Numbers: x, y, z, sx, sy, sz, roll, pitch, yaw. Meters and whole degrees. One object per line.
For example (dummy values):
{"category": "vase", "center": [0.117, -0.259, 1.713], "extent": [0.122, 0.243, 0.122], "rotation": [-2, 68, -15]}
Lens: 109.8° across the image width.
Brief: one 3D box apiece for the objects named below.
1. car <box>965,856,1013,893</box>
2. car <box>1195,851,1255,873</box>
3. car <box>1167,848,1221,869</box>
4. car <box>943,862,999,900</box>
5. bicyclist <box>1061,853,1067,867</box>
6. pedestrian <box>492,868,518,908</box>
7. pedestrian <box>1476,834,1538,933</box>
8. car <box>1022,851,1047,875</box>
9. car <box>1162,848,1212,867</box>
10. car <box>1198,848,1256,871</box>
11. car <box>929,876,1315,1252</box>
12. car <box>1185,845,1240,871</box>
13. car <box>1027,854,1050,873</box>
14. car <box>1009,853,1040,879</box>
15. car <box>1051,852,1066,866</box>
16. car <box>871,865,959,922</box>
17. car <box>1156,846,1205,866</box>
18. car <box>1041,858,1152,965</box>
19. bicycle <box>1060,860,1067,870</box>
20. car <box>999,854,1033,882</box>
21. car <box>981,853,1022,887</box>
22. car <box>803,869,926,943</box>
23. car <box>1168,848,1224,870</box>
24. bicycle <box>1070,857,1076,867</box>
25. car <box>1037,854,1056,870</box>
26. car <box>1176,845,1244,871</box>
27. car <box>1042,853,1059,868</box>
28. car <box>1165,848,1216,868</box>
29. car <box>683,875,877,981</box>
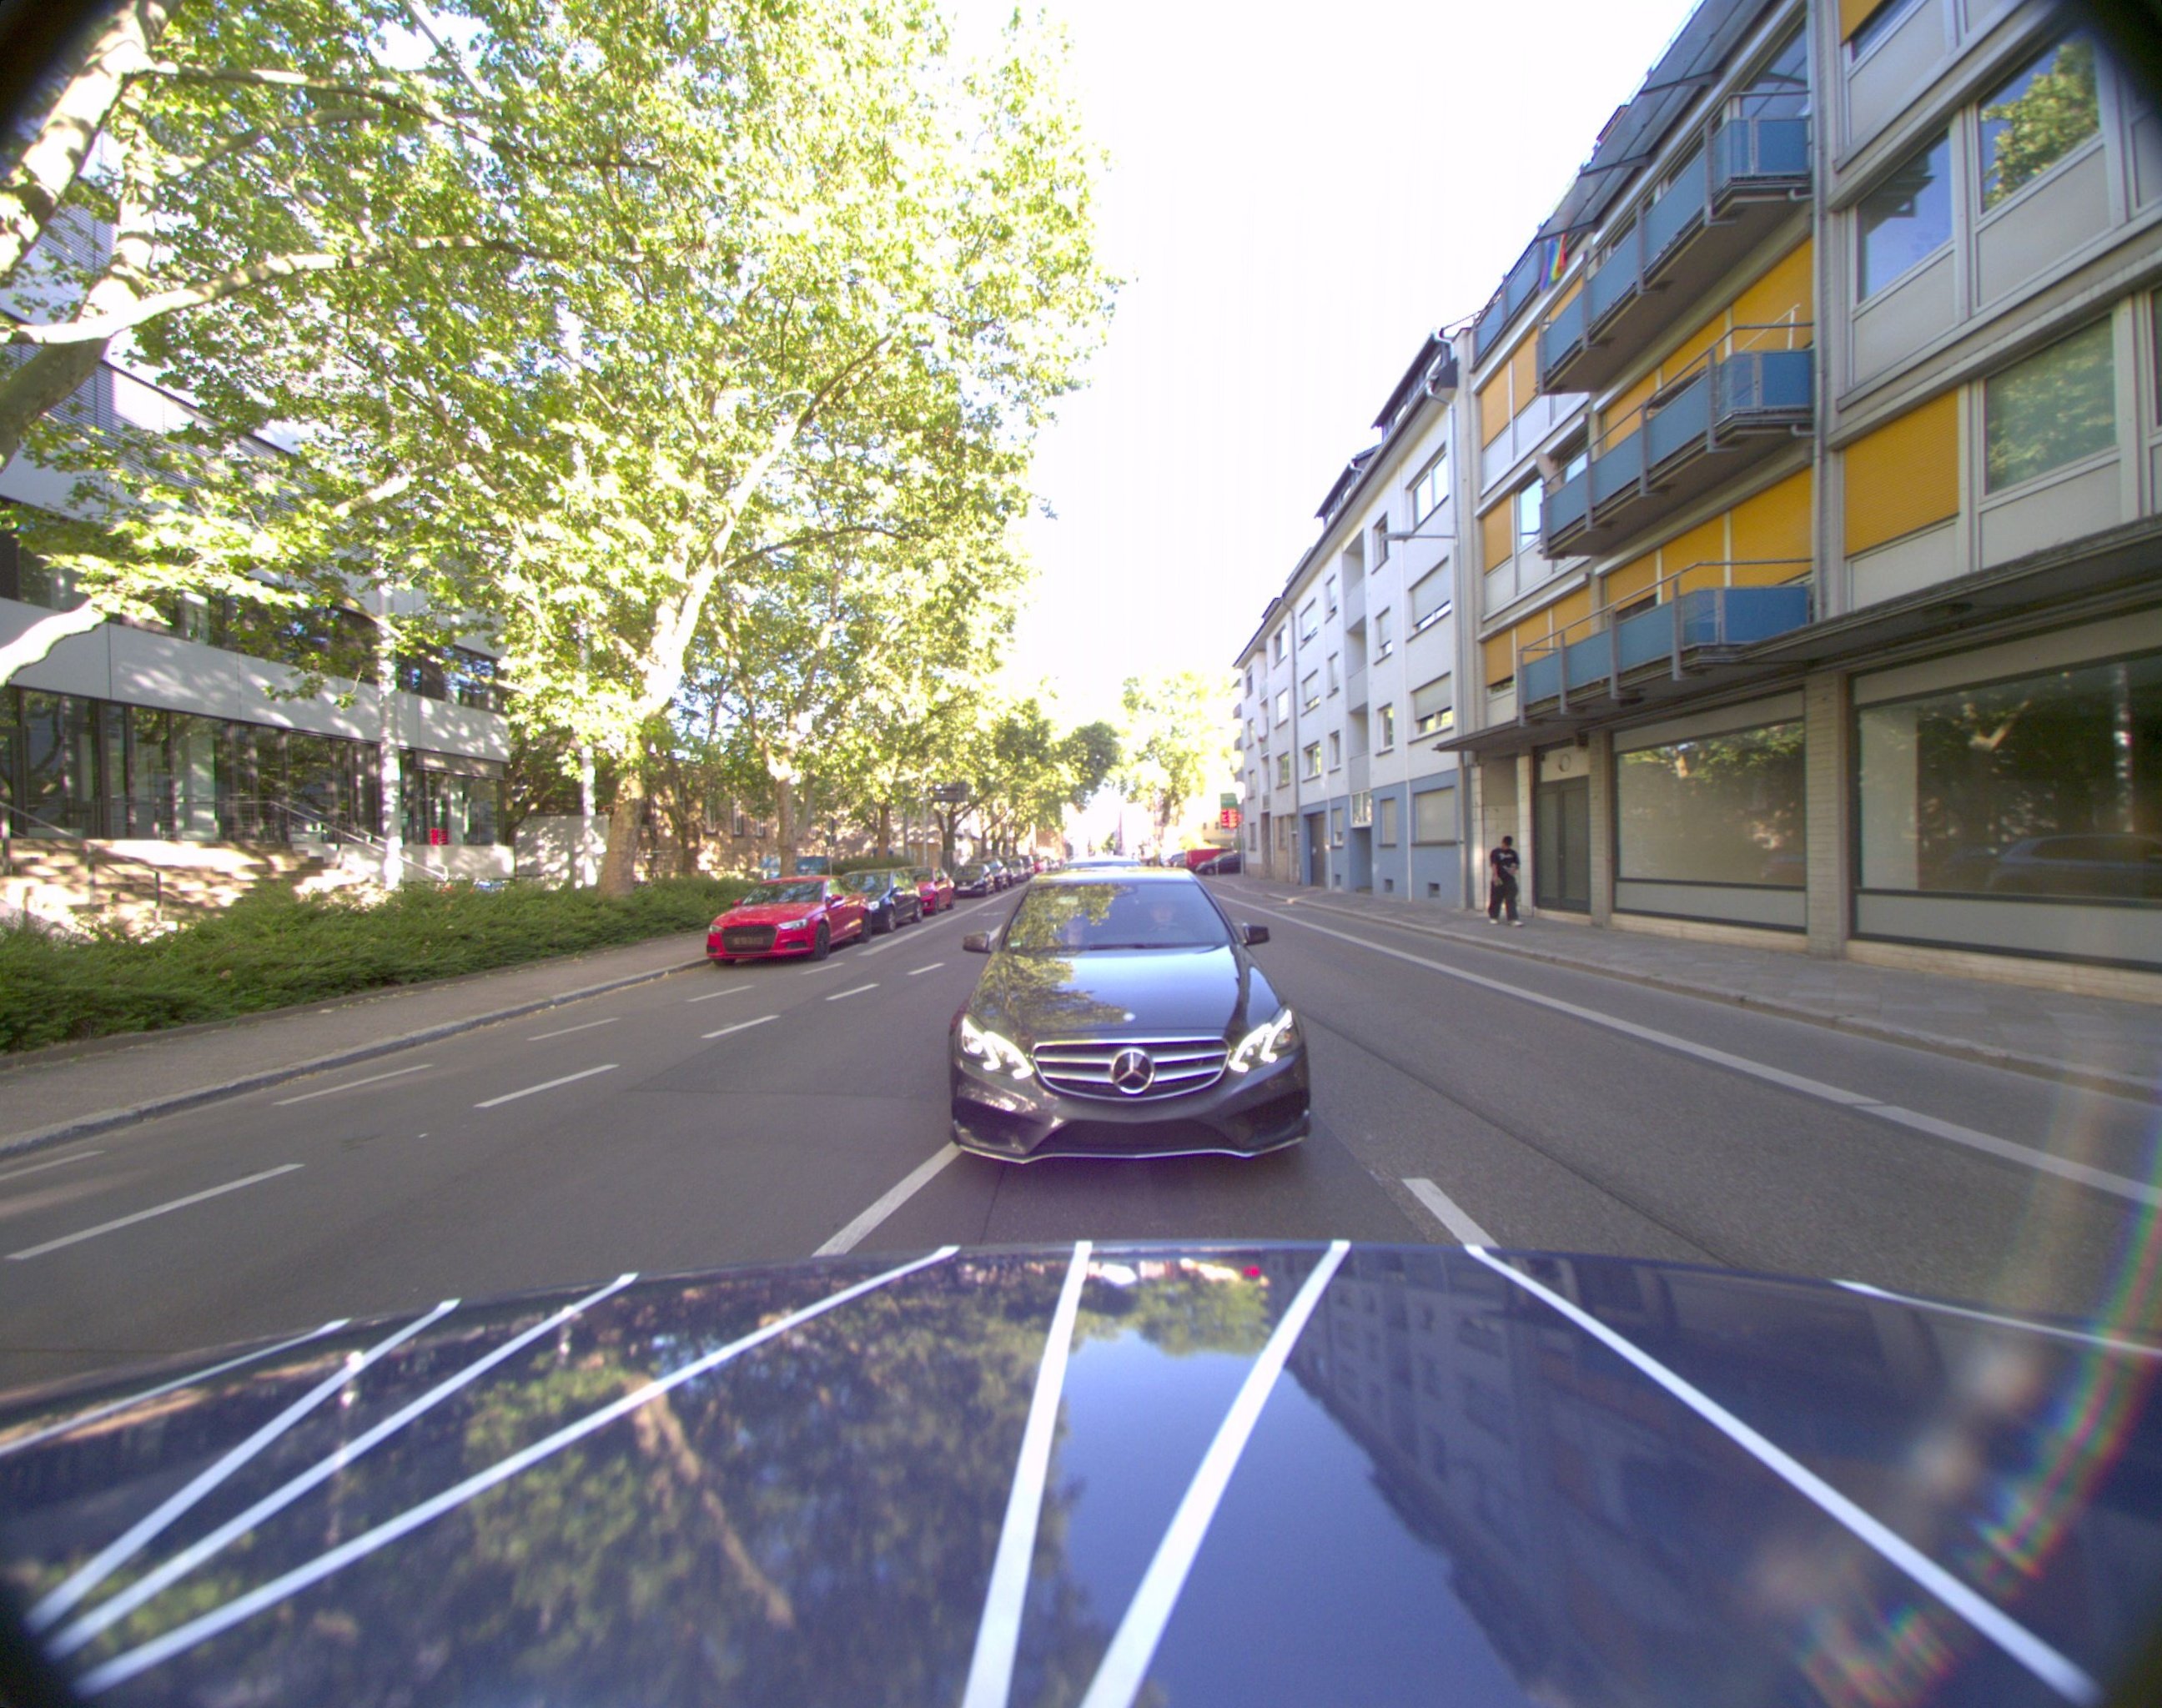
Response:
{"category": "car", "center": [-4.568, 0.980, 38.256], "extent": [1.755, 1.644, 4.174], "rotation": [-3, 0, 1]}
{"category": "car", "center": [10.351, 0.573, 54.773], "extent": [3.997, 1.412, 1.743], "rotation": [-1, 0, 1]}
{"category": "car", "center": [11.267, 0.417, 76.214], "extent": [5.054, 1.926, 2.161], "rotation": [-1, 0, 1]}
{"category": "car", "center": [-4.755, 1.121, 33.286], "extent": [1.755, 1.424, 3.909], "rotation": [-3, 0, 1]}
{"category": "bicyclist", "center": [-1.818, 0.601, 80.764], "extent": [0.650, 1.427, 0.741], "rotation": [-1, 1, 1]}
{"category": "pedestrian", "center": [-24.405, 1.422, 32.200], "extent": [0.525, 1.660, 0.661], "rotation": [-2, 1, 2]}
{"category": "pedestrian", "center": [7.895, 0.534, 14.107], "extent": [0.663, 1.761, 0.793], "rotation": [-2, 1, 1]}
{"category": "car", "center": [-4.002, 0.735, 66.381], "extent": [1.755, 1.941, 4.447], "rotation": [-3, 0, 1]}
{"category": "car", "center": [11.317, 0.360, 81.177], "extent": [5.042, 1.926, 2.315], "rotation": [-1, 0, 1]}
{"category": "car", "center": [10.907, 0.402, 56.983], "extent": [3.997, 1.552, 1.743], "rotation": [-1, 0, 1]}
{"category": "car", "center": [0.207, 0.986, 5.349], "extent": [1.667, 1.499, 4.000], "rotation": [-1, 0, 1]}
{"category": "car", "center": [10.326, 0.311, 60.073], "extent": [3.997, 1.926, 1.867], "rotation": [-1, 0, 1]}
{"category": "car", "center": [-4.008, 0.910, 72.167], "extent": [1.755, 1.652, 4.447], "rotation": [-3, 0, 1]}
{"category": "car", "center": [-4.108, 0.827, 55.748], "extent": [1.755, 1.753, 4.447], "rotation": [-3, 0, 1]}
{"category": "car", "center": [-3.021, 0.660, 103.195], "extent": [1.755, 1.652, 4.447], "rotation": [-3, 0, 1]}
{"category": "car", "center": [-5.039, 1.149, 23.648], "extent": [1.755, 1.459, 3.909], "rotation": [-3, 0, 1]}
{"category": "car", "center": [11.184, 0.214, 85.513], "extent": [5.143, 2.135, 2.187], "rotation": [-1, 0, 1]}
{"category": "car", "center": [0.266, 0.890, 13.602], "extent": [1.667, 1.563, 4.000], "rotation": [-1, 0, 1]}
{"category": "bicycle", "center": [-1.812, 1.135, 80.785], "extent": [0.650, 1.053, 1.595], "rotation": [-1, 0, 1]}
{"category": "car", "center": [-4.278, 0.885, 50.937], "extent": [1.755, 1.718, 4.447], "rotation": [-3, 0, 1]}
{"category": "car", "center": [-4.558, 0.875, 44.054], "extent": [1.755, 1.810, 4.447], "rotation": [-3, 0, 1]}
{"category": "car", "center": [-5.090, 1.175, 18.435], "extent": [1.755, 1.424, 3.909], "rotation": [-3, 0, 1]}
{"category": "car", "center": [11.094, 0.456, 73.514], "extent": [5.143, 1.926, 2.187], "rotation": [-1, 0, 1]}
{"category": "bicycle", "center": [-0.885, 0.861, 80.499], "extent": [0.574, 1.053, 1.595], "rotation": [-1, 0, 1]}
{"category": "car", "center": [-3.782, 0.878, 83.507], "extent": [1.755, 1.652, 4.447], "rotation": [-3, 0, 1]}
{"category": "car", "center": [10.631, 0.305, 63.098], "extent": [5.223, 1.969, 2.257], "rotation": [-1, 0, 1]}
{"category": "car", "center": [-3.653, 0.782, 92.996], "extent": [1.755, 1.652, 4.447], "rotation": [-3, 0, 1]}
{"category": "car", "center": [11.281, 0.386, 78.712], "extent": [4.991, 1.926, 2.083], "rotation": [-1, 0, 1]}
{"category": "car", "center": [-5.130, 1.184, 13.589], "extent": [1.755, 1.400, 4.000], "rotation": [-3, 0, 1]}
